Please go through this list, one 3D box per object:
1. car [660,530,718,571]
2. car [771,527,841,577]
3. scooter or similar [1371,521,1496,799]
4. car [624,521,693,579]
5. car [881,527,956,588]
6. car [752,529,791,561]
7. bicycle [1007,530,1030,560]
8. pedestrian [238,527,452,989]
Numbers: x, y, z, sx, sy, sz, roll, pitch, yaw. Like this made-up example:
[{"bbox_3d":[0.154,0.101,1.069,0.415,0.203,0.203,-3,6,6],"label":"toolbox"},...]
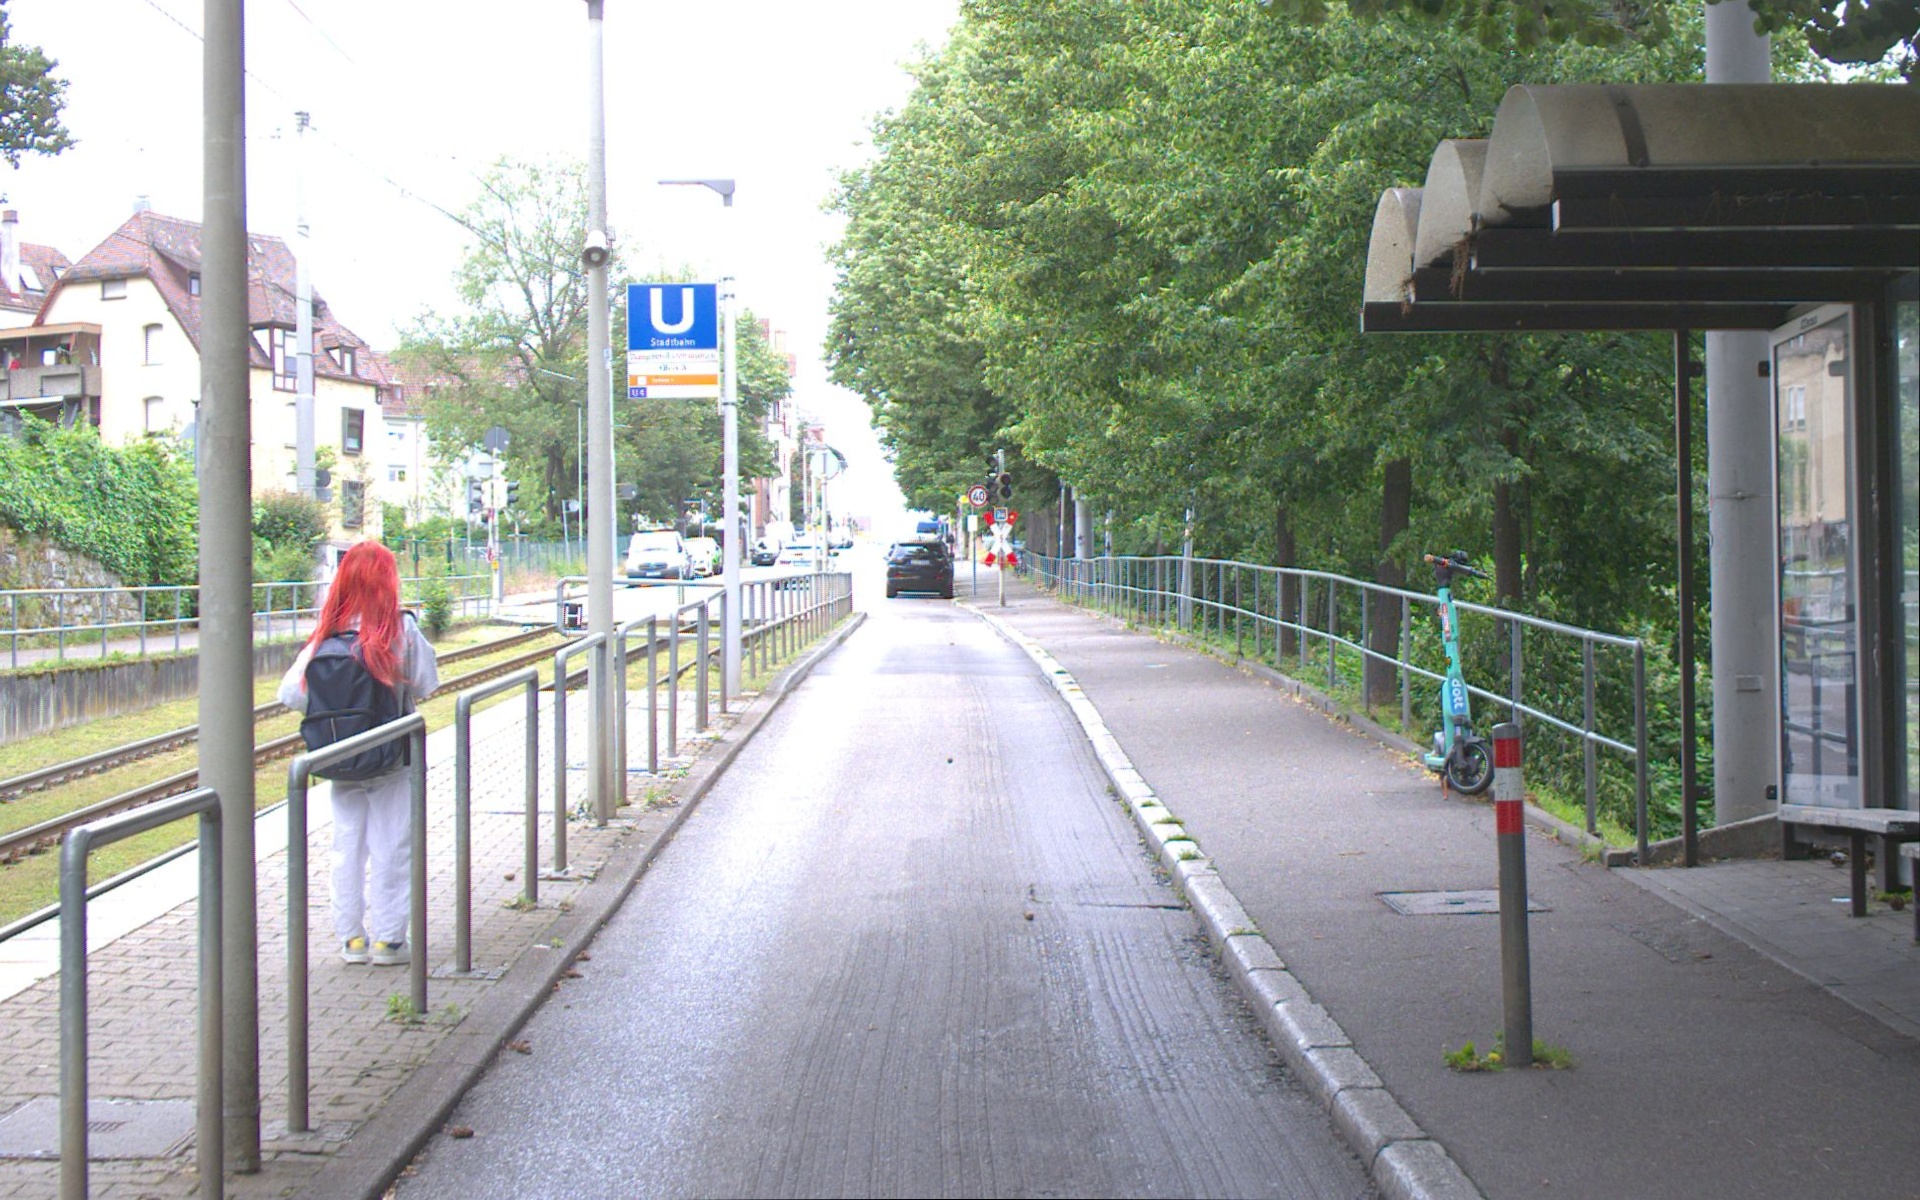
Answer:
[{"bbox_3d":[-10.601,-1.933,134.732,1.885,1.521,4.664,-2,1,0],"label":"car"},{"bbox_3d":[-4.689,-1.457,105.434,1.993,1.493,4.312,0,0,-1],"label":"car"},{"bbox_3d":[2.438,0.294,17.799,0.430,1.380,1.455,0,0,-1],"label":"scooter or similar"},{"bbox_3d":[-10.530,-1.727,120.280,2.035,1.875,4.885,-3,0,-1],"label":"car"},{"bbox_3d":[-1.121,-1.174,94.733,1.904,1.609,4.600,1,1,1],"label":"car"},{"bbox_3d":[-10.996,-3.190,200.987,1.993,1.802,4.000,0,0,1],"label":"car"},{"bbox_3d":[1.924,-1.810,114.074,0.427,0.972,1.795,0,0,-10],"label":"bicycle"},{"bbox_3d":[-2.057,0.509,11.566,0.624,1.497,0.739,0,2,-3],"label":"pedestrian"}]
